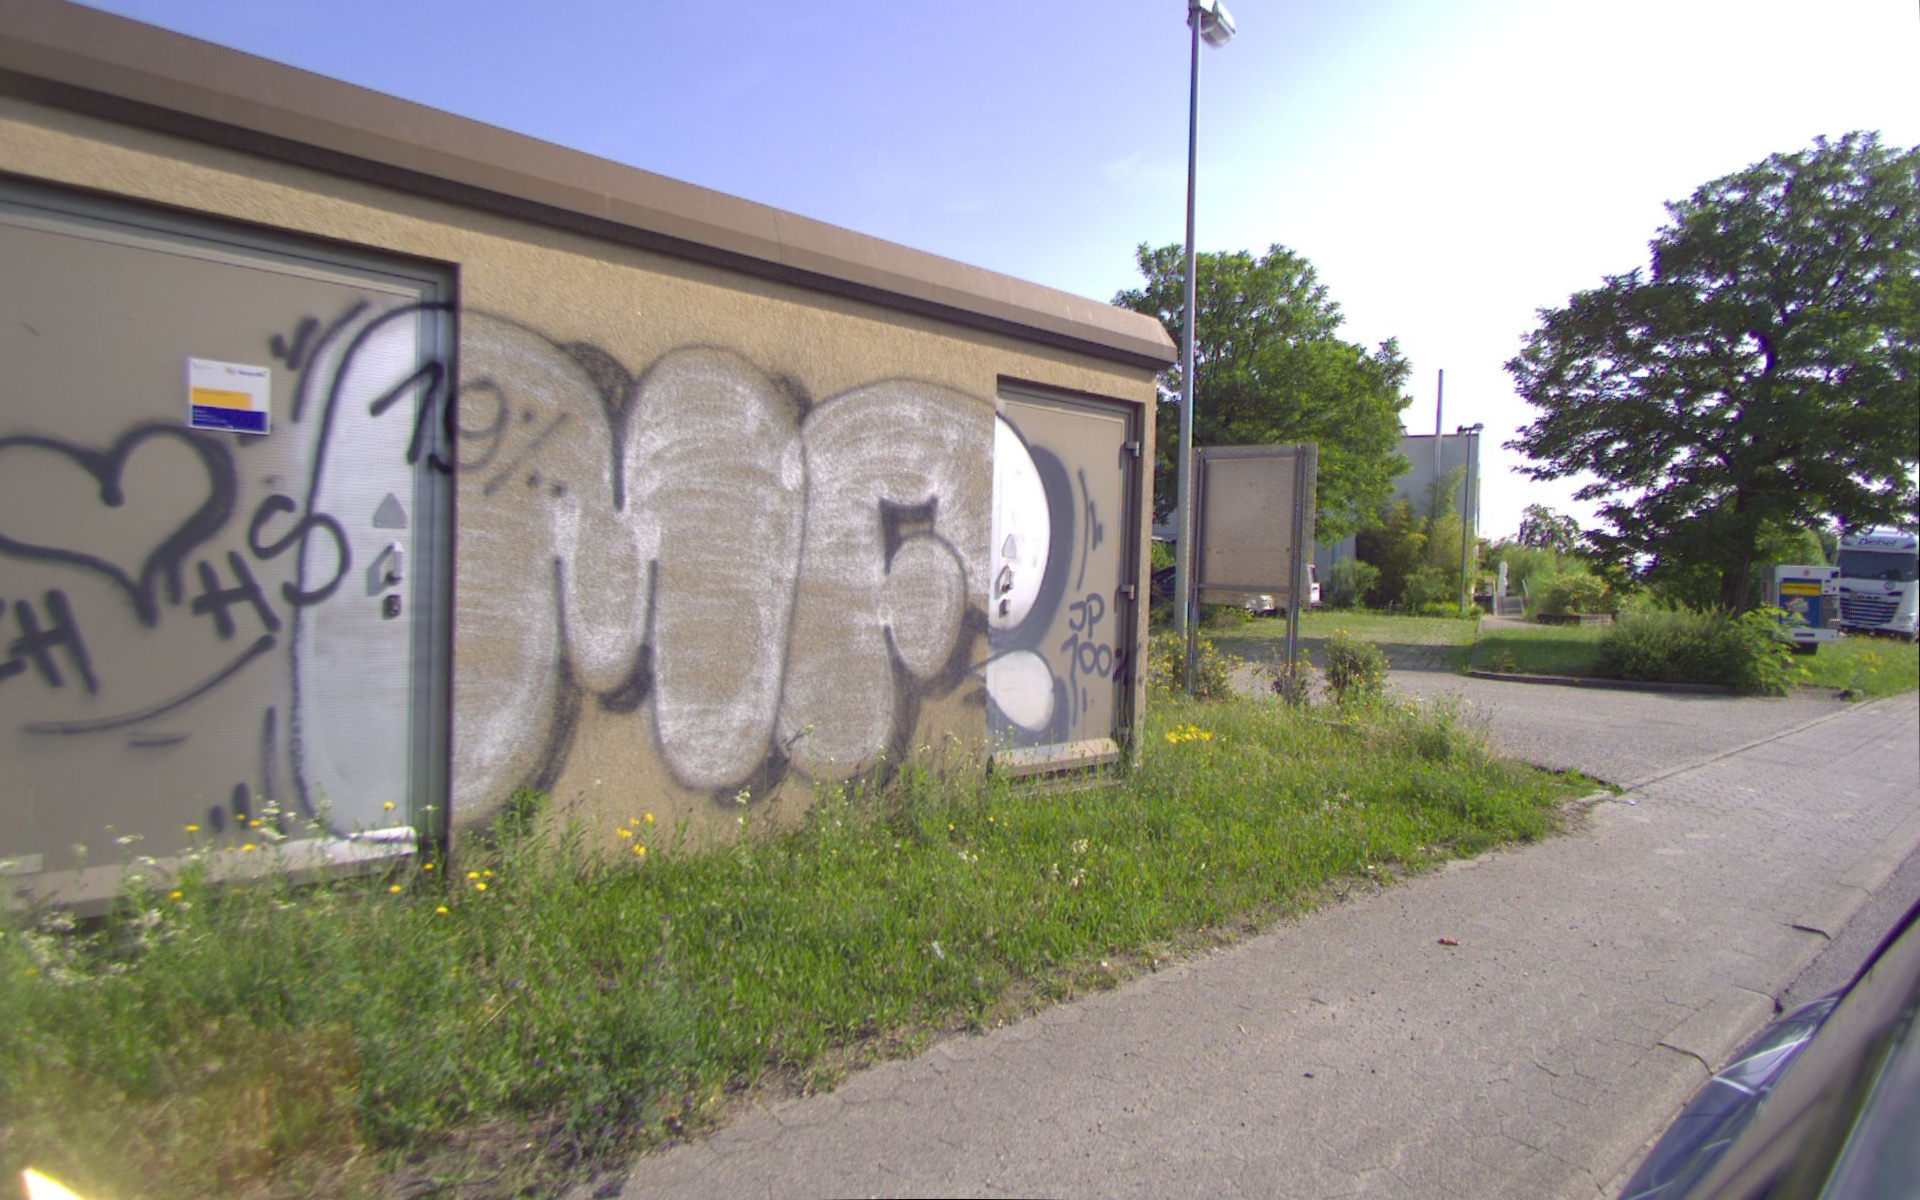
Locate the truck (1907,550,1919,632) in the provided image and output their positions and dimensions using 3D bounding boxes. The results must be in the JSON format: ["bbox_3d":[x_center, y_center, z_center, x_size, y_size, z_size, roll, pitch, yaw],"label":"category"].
[{"bbox_3d":[51.383,-0.344,51.867,10.393,3.988,3.042,1,2,-41],"label":"truck"}]

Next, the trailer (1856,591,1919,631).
[{"bbox_3d":[40.724,0.443,42.596,13.886,1.408,2.552,0,3,-41],"label":"trailer"}]

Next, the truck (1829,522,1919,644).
[{"bbox_3d":[34.893,-0.627,37.495,8.430,4.029,2.559,0,4,-41],"label":"truck"}]

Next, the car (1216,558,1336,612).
[{"bbox_3d":[11.655,-0.575,37.380,3.884,1.772,1.733,3,2,32],"label":"car"}]

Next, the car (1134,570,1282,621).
[{"bbox_3d":[7.374,-0.177,30.186,4.008,1.423,1.724,1,2,31],"label":"car"}]

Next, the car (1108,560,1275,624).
[{"bbox_3d":[6.218,-0.249,27.230,4.009,1.481,1.781,4,2,30],"label":"car"}]
